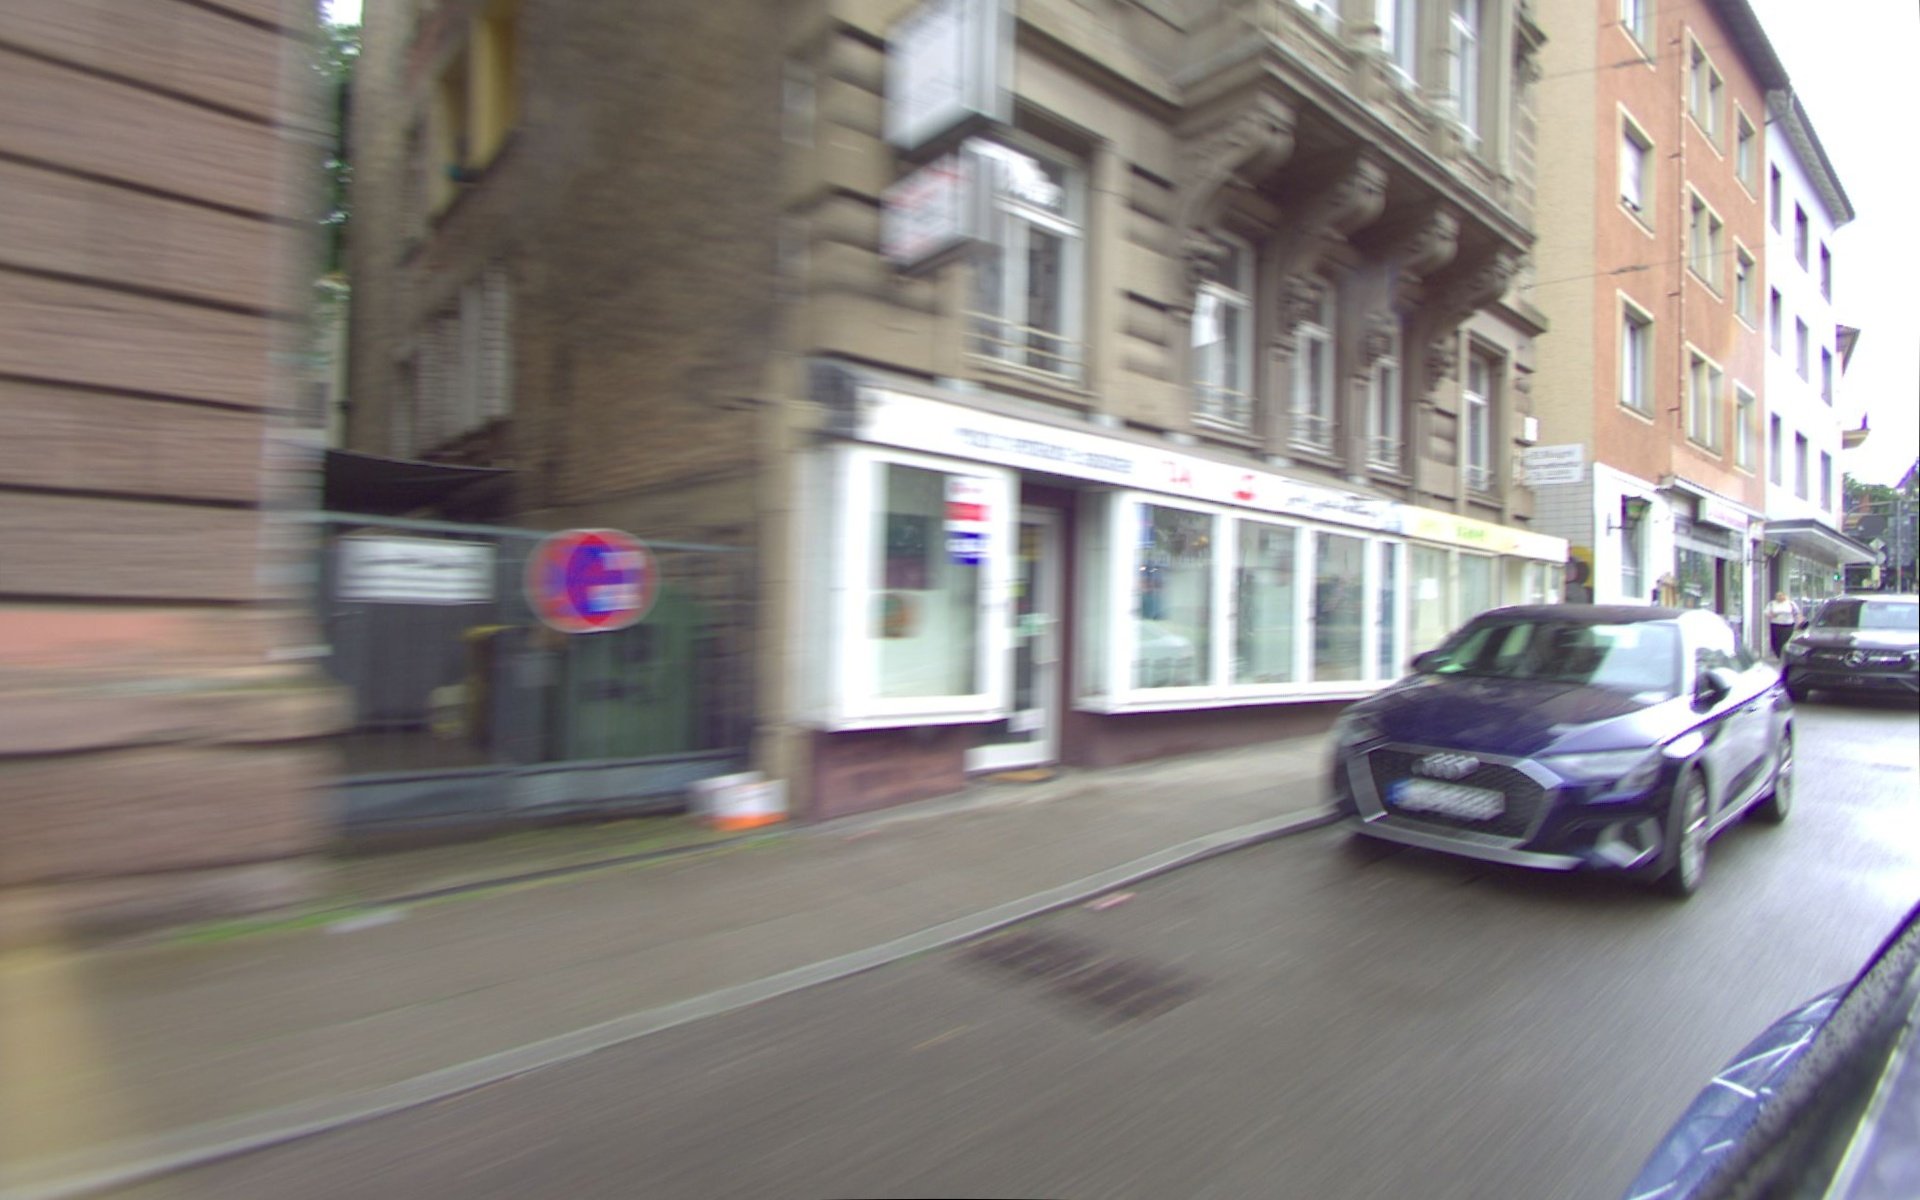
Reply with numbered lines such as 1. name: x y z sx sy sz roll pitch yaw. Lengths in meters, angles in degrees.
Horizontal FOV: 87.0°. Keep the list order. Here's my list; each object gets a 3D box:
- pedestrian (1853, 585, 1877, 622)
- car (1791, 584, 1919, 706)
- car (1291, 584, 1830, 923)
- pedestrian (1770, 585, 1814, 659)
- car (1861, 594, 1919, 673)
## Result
1. pedestrian: 45.176 0.161 50.518 0.745 1.785 0.807 4 3 38
2. car: 14.594 0.591 15.741 4.507 1.653 1.848 -1 1 -41
3. car: 4.023 0.633 6.456 4.184 1.424 1.794 -1 2 -42
4. pedestrian: 18.670 0.488 22.714 0.687 1.592 0.752 2 -1 38
5. car: 19.791 0.652 20.436 4.506 1.474 1.805 1 1 -41
